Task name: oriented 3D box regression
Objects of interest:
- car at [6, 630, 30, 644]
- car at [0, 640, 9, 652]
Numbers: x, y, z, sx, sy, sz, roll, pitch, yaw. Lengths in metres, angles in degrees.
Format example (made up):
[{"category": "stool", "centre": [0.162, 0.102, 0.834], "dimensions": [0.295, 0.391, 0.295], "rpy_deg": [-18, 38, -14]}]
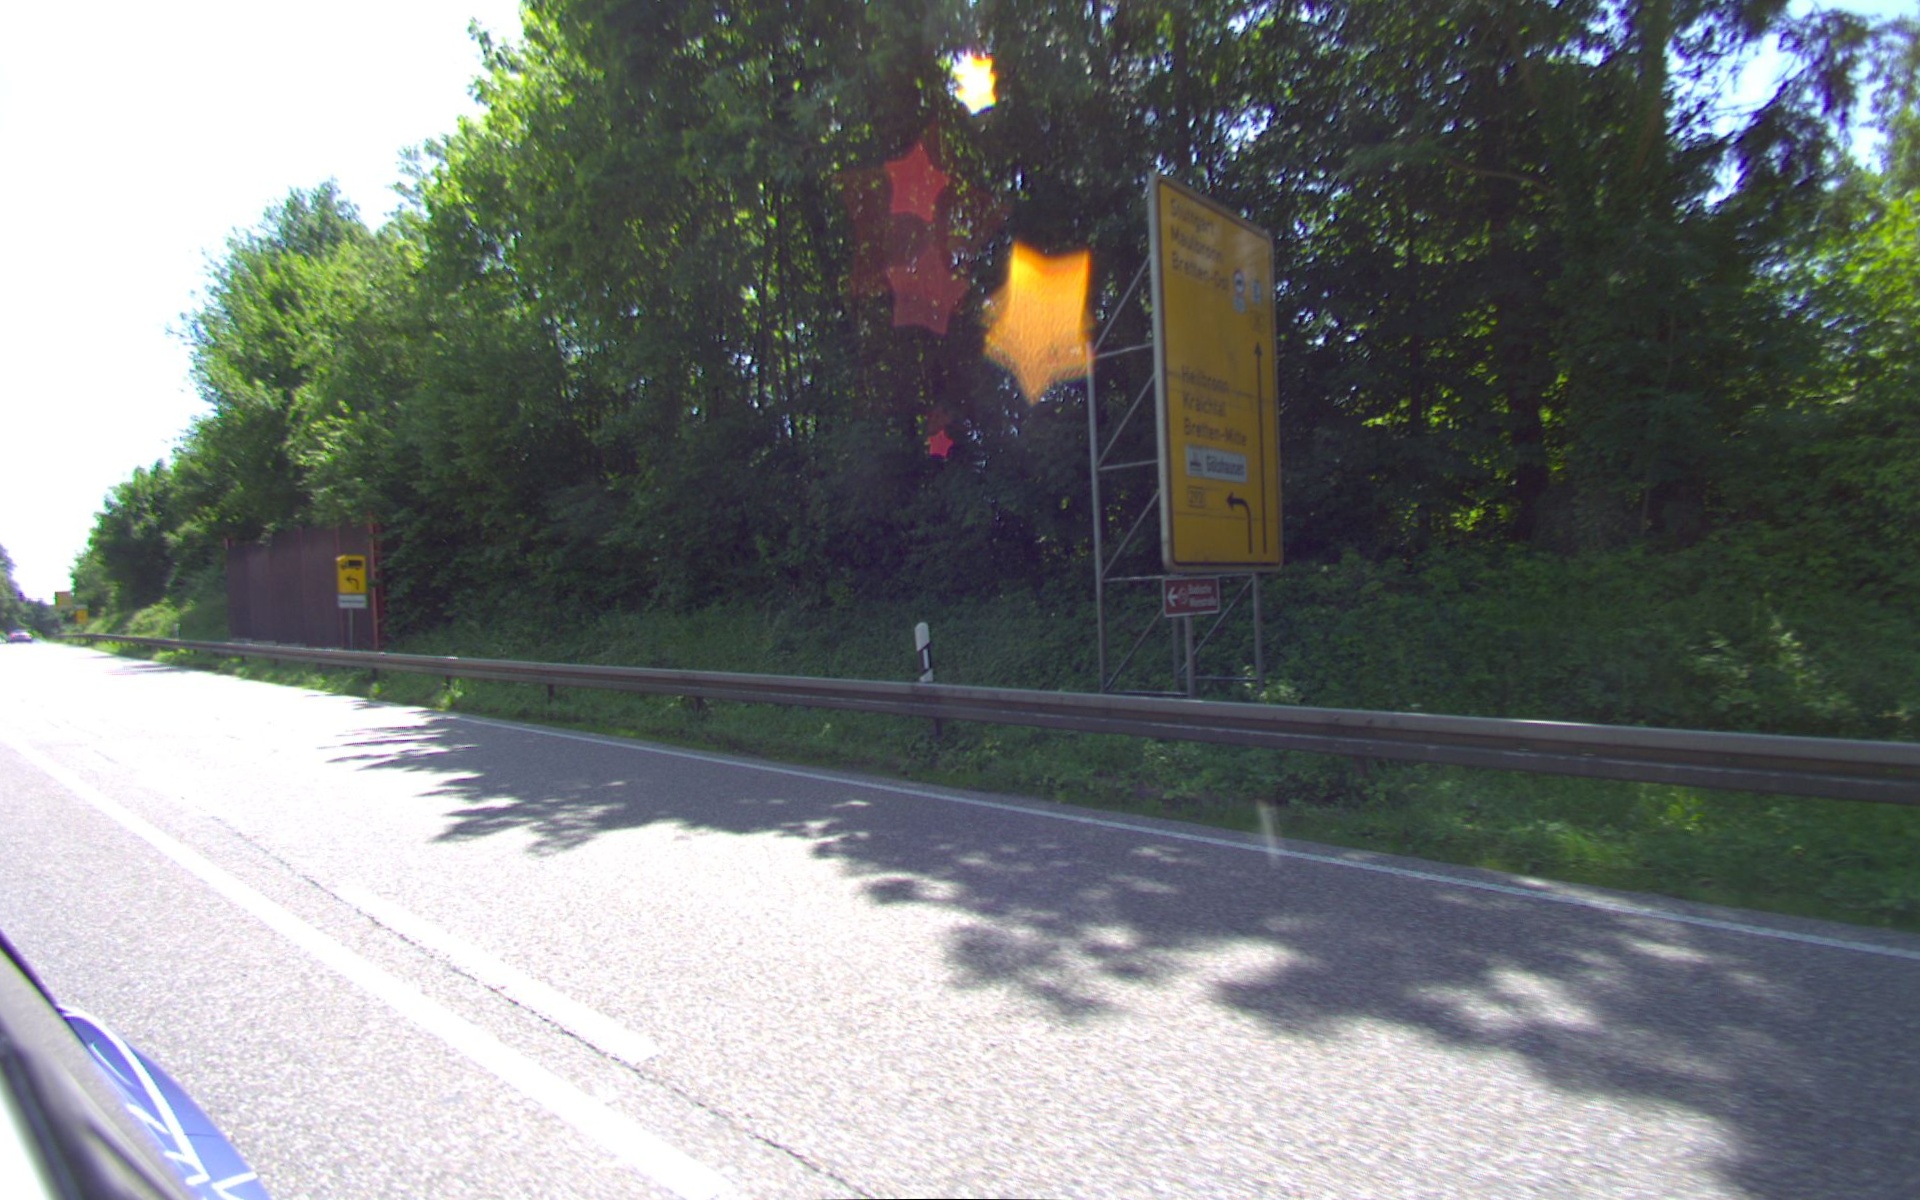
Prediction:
[{"category": "car", "centre": [-100.930, 3.978, 108.422], "dimensions": [1.785, 1.446, 3.873], "rpy_deg": [1, -2, -45]}, {"category": "car", "centre": [-168.807, 8.132, 177.991], "dimensions": [1.969, 2.029, 4.007], "rpy_deg": [-3, 0, -39]}]
